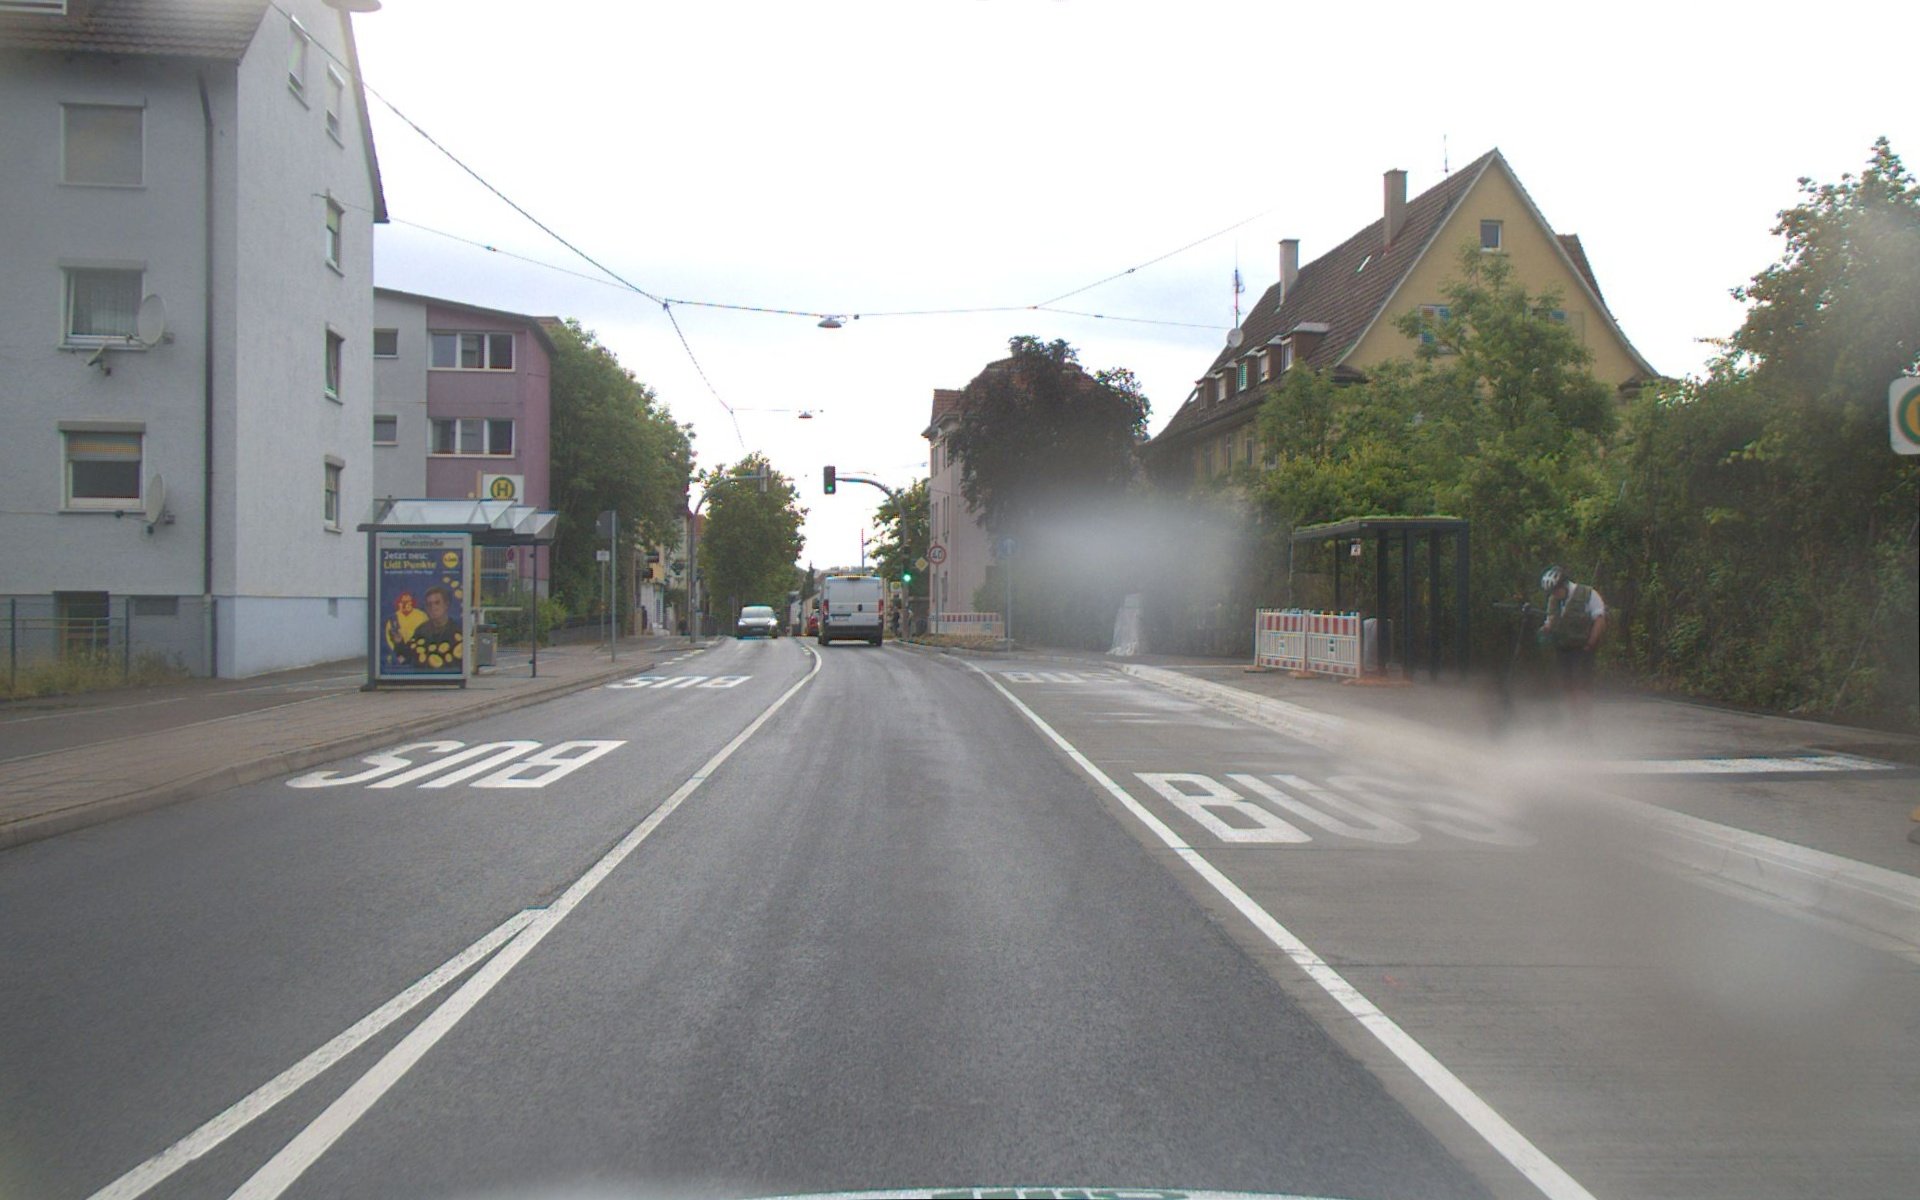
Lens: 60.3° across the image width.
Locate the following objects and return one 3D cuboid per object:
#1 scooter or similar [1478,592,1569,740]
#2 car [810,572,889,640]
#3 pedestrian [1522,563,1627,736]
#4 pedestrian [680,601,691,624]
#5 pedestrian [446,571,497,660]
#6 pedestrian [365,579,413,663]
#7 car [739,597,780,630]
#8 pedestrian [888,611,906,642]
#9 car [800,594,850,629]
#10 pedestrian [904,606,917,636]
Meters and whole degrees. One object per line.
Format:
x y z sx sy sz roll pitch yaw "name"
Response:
5.262 0.597 15.420 1.232 1.338 0.228 0 0 -42 "scooter or similar"
-3.804 0.222 56.064 2.303 2.198 4.767 0 -1 -9 "car"
5.782 0.455 15.545 0.911 1.574 0.537 0 -1 -39 "pedestrian"
-20.879 0.929 125.875 0.800 1.709 0.991 1 -3 -9 "pedestrian"
-10.611 0.323 35.953 0.844 1.915 1.043 0 0 -4 "pedestrian"
-12.795 0.461 37.103 0.791 1.853 1.114 1 0 -9 "pedestrian"
-9.059 0.592 74.519 1.750 1.478 4.381 0 0 -8 "car"
-3.554 1.508 93.601 0.631 1.740 0.738 -1 -2 -41 "pedestrian"
-7.130 0.613 86.675 2.303 1.758 4.767 0 -1 -9 "car"
-2.941 1.249 98.098 0.648 1.772 0.826 -1 -1 -12 "pedestrian"
